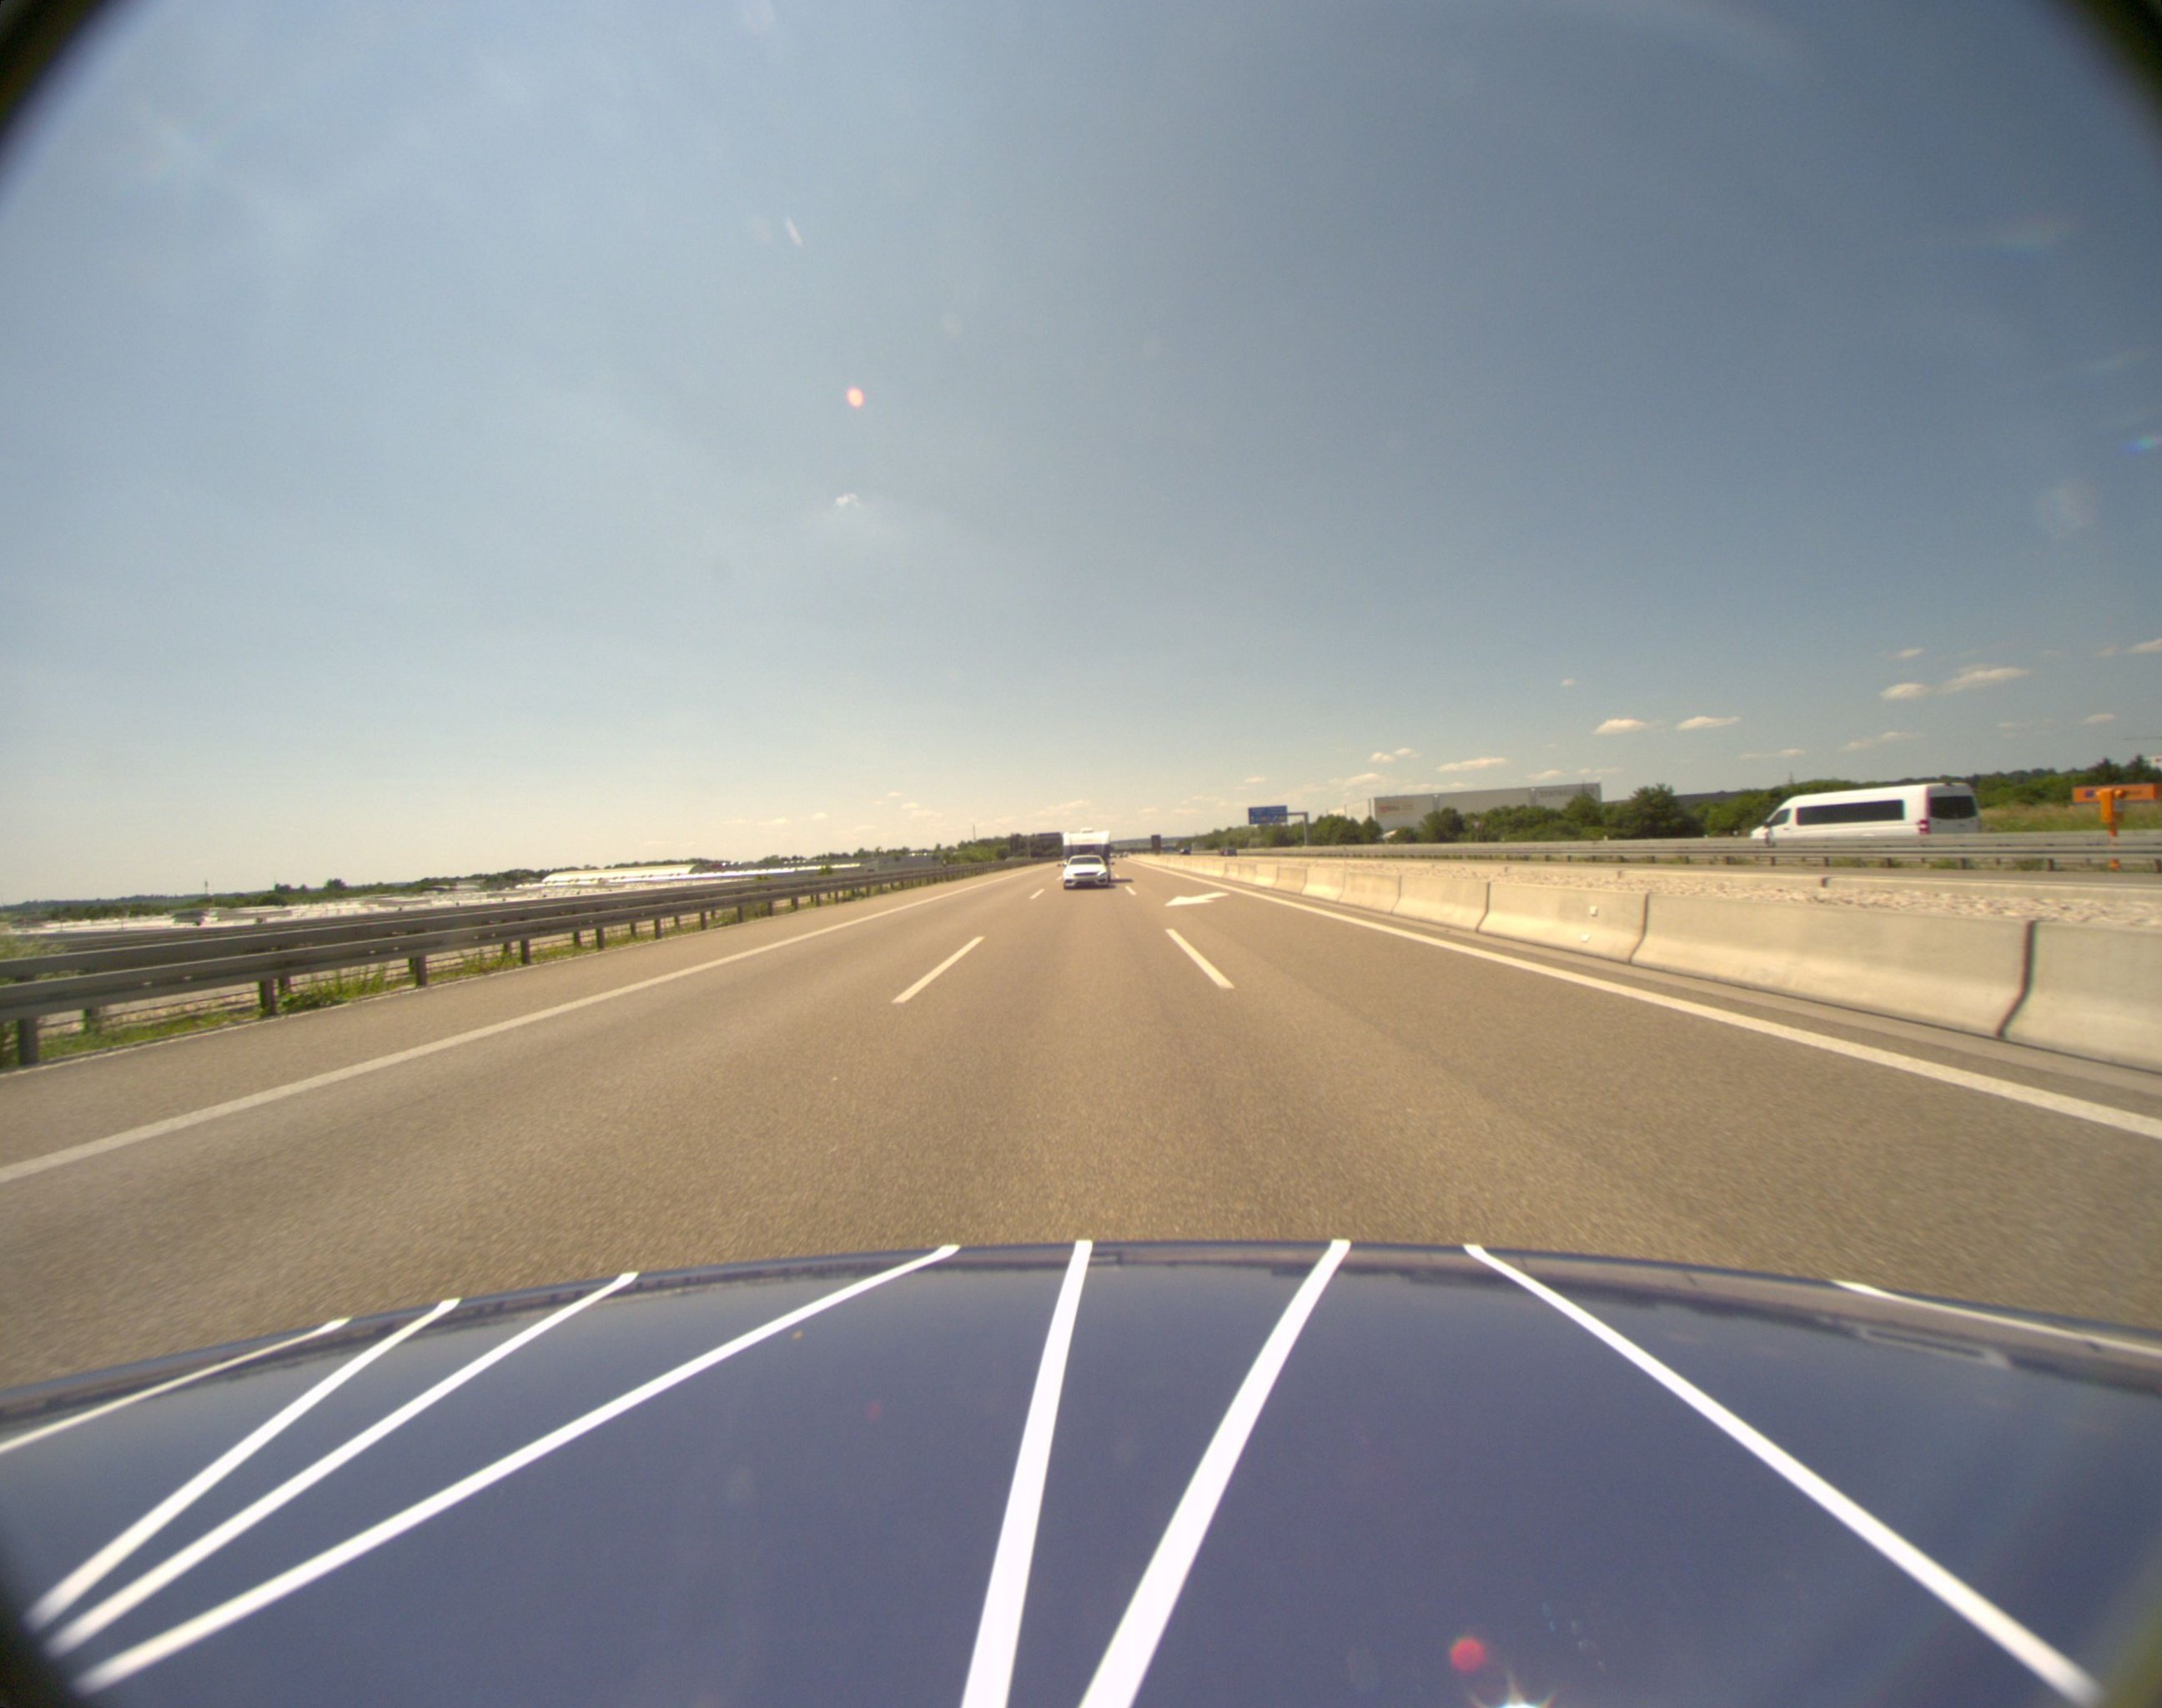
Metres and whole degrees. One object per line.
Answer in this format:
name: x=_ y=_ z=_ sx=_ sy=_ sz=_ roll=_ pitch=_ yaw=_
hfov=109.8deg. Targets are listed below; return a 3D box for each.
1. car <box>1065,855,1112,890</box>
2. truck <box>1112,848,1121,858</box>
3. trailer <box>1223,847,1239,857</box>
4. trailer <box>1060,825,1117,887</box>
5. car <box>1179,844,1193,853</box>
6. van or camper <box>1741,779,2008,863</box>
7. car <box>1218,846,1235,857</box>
car: x=0.332 y=0.733 z=32.297 sx=1.873 sy=1.352 sz=3.672 roll=-1 pitch=1 yaw=1
truck: x=10.182 y=-0.357 z=218.755 sx=2.168 sy=2.797 sz=6.492 roll=-2 pitch=0 yaw=4
trailer: x=22.060 y=-0.313 z=111.740 sx=1.760 sy=1.427 sz=3.683 roll=-1 pitch=1 yaw=2
trailer: x=0.417 y=0.056 z=37.721 sx=2.501 sy=2.686 sz=7.154 roll=-2 pitch=1 yaw=1
car: x=19.119 y=-1.051 z=138.656 sx=2.036 sy=1.464 sz=4.371 roll=-2 pitch=0 yaw=2
van or camper: x=30.498 y=-1.166 z=29.829 sx=2.552 sy=2.805 sz=7.541 roll=-2 pitch=1 yaw=0
car: x=22.151 y=-0.385 z=115.572 sx=1.796 sy=1.541 sz=4.000 roll=-2 pitch=0 yaw=1
